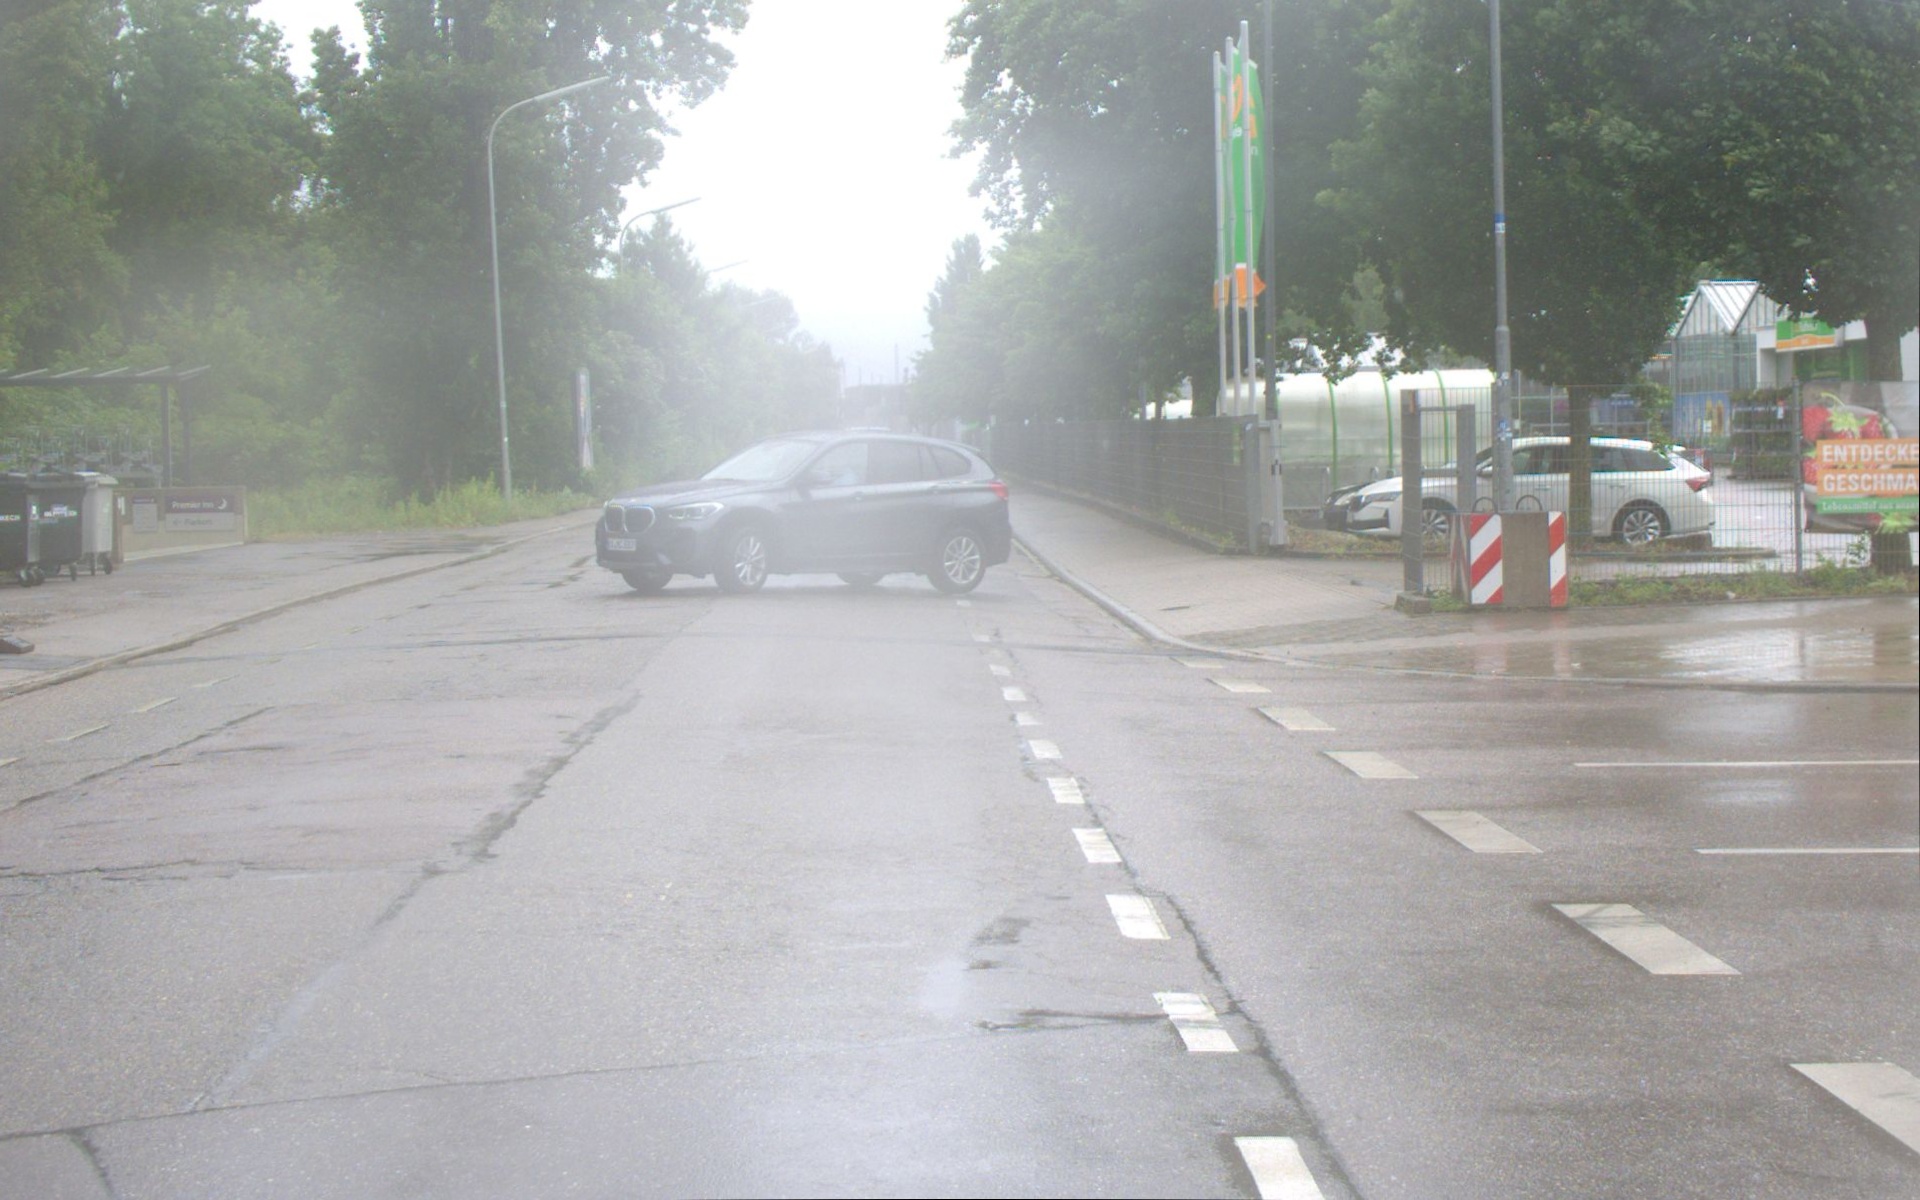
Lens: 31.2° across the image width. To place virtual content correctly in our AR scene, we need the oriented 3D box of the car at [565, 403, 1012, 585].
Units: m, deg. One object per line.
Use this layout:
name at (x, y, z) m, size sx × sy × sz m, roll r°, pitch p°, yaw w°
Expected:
car at (-1.645, -1.074, 33.944) m, size 4.138 × 1.563 × 1.764 m, roll -5°, pitch 4°, yaw -41°

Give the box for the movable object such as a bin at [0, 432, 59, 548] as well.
movable object such as a bin at (-11.266, -1.279, 39.990) m, size 1.295 × 1.303 × 1.449 m, roll -2°, pitch 3°, yaw -7°

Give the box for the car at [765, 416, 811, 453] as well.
car at (-7.504, -7.259, 150.221) m, size 1.733 × 1.445 × 4.382 m, roll -4°, pitch 4°, yaw 0°

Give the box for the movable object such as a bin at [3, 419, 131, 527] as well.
movable object such as a bin at (-11.477, -1.639, 44.227) m, size 1.295 × 1.327 × 1.359 m, roll -2°, pitch 3°, yaw -2°

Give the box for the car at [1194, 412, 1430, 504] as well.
car at (6.657, -2.710, 65.317) m, size 4.208 × 1.595 × 1.824 m, roll -2°, pitch 4°, yaw -2°

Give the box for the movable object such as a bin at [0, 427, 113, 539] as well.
movable object such as a bin at (-11.339, -1.427, 41.858) m, size 1.376 × 1.303 × 1.447 m, roll 0°, pitch 4°, yaw 21°

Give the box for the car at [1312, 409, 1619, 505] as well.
car at (6.906, -1.977, 47.210) m, size 3.938 × 1.252 × 1.619 m, roll -1°, pitch 3°, yaw -2°

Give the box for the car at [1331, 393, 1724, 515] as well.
car at (7.265, -1.902, 44.298) m, size 4.702 × 1.457 × 1.891 m, roll -1°, pitch 3°, yaw -2°
